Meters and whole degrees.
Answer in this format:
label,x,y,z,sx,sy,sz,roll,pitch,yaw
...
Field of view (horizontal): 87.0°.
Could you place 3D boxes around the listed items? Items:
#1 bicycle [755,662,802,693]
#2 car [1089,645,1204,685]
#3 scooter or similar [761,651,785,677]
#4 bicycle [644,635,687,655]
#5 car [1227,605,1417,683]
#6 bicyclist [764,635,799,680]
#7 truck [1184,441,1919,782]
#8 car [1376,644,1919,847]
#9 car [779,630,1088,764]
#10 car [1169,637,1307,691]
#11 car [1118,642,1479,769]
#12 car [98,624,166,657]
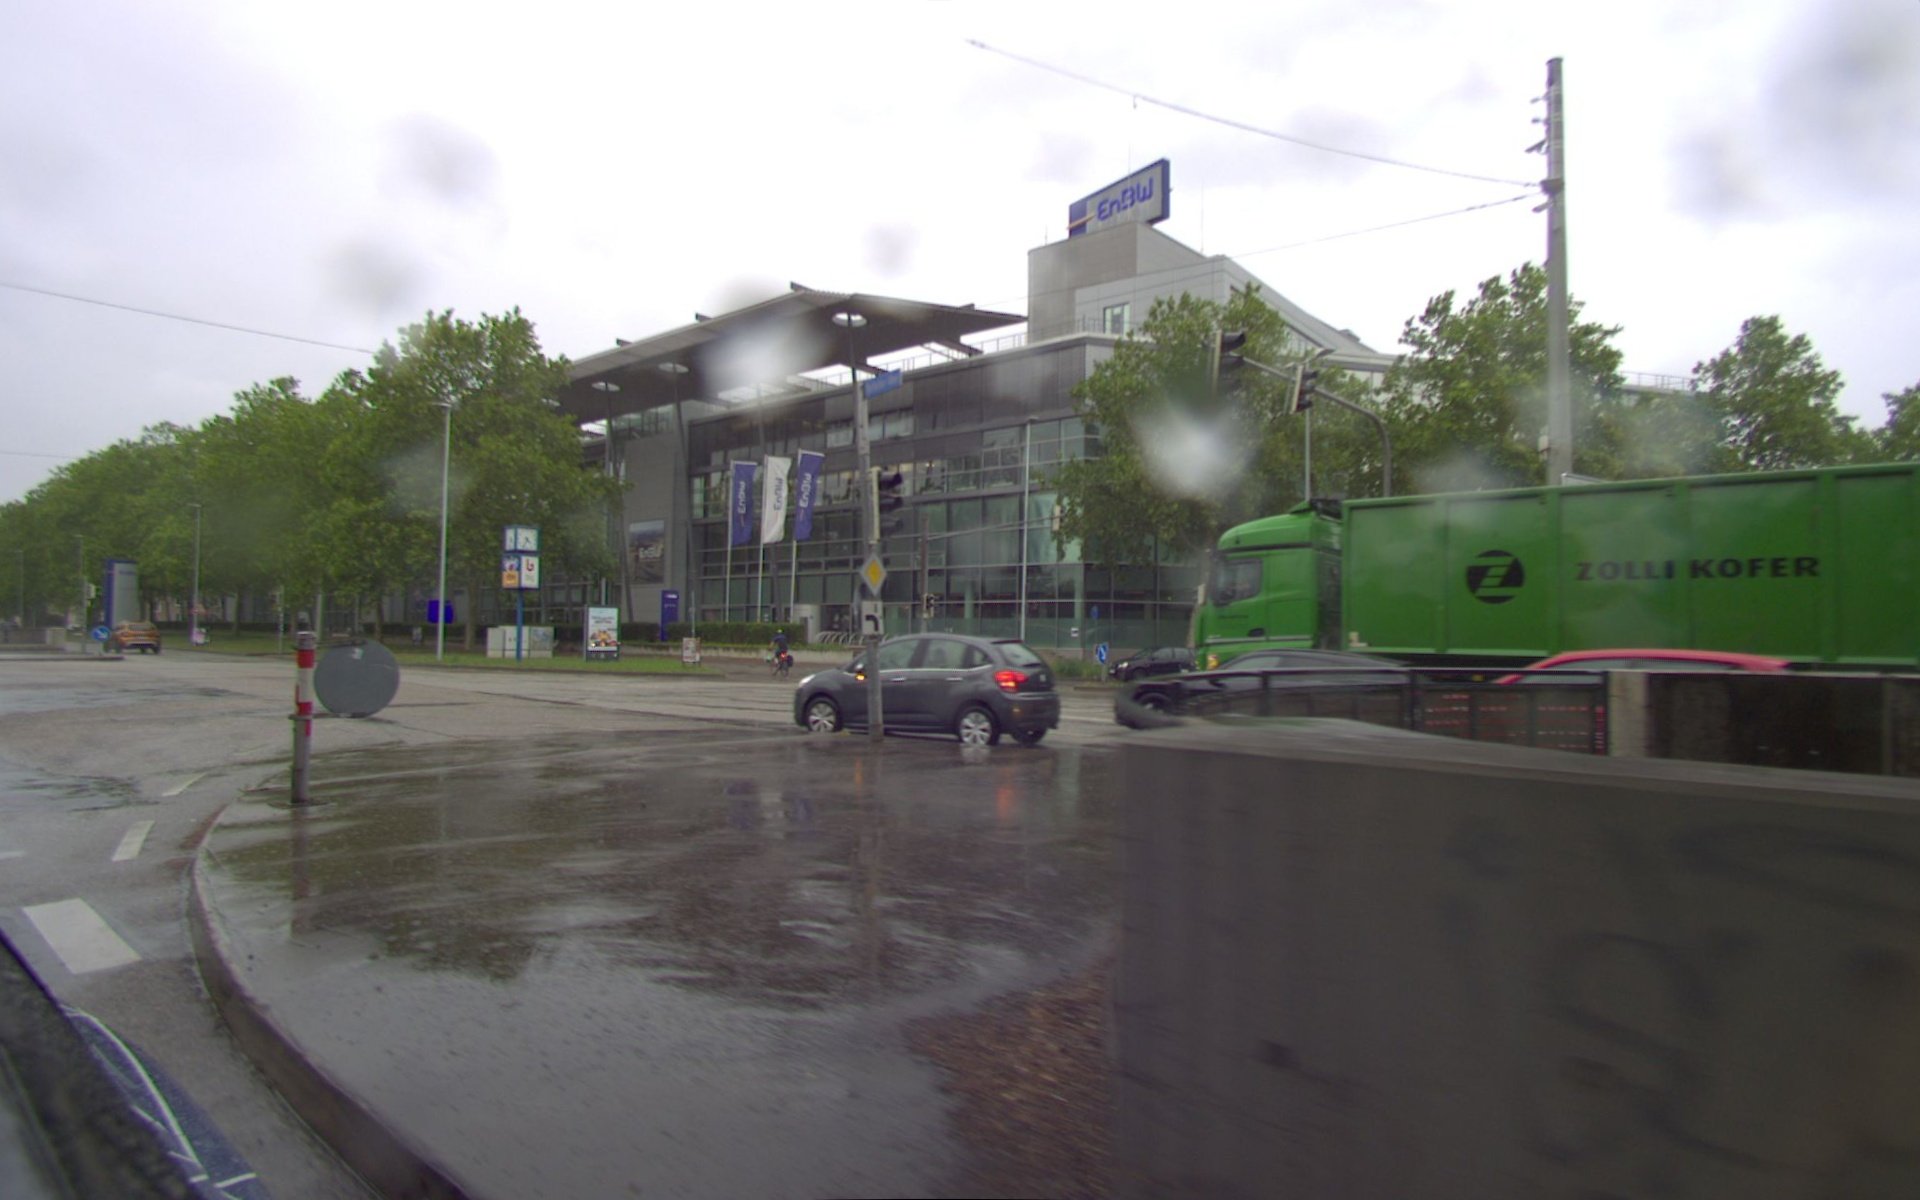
label,x,y,z,sx,sy,sz,roll,pitch,yaw
bicycle,-6.642,2.818,37.024,1.914,1.103,0.684,-3,-6,45
car,7.097,2.472,38.596,3.932,1.448,1.809,2,-3,-16
scooter or similar,-8.672,2.964,46.882,1.173,1.147,0.336,0,-3,36
bicycle,-20.330,3.100,69.962,1.180,1.342,3.679,1,-3,13
car,12.164,1.511,34.090,5.861,2.452,1.975,2,-3,-14
bicyclist,-6.519,2.101,36.965,1.047,1.606,0.793,-4,-6,44
truck,8.716,0.258,15.672,10.187,3.979,2.652,-1,-4,40
car,6.256,1.188,9.557,3.994,1.463,1.798,-1,-3,38
car,-0.410,1.235,13.881,3.986,1.558,1.642,0,-3,32
car,9.856,2.258,35.949,4.254,1.761,2.005,2,-3,-15
car,4.776,1.409,14.631,4.675,1.497,1.725,-1,-3,36
car,-43.055,2.101,52.617,4.165,1.644,1.881,-1,-3,39
